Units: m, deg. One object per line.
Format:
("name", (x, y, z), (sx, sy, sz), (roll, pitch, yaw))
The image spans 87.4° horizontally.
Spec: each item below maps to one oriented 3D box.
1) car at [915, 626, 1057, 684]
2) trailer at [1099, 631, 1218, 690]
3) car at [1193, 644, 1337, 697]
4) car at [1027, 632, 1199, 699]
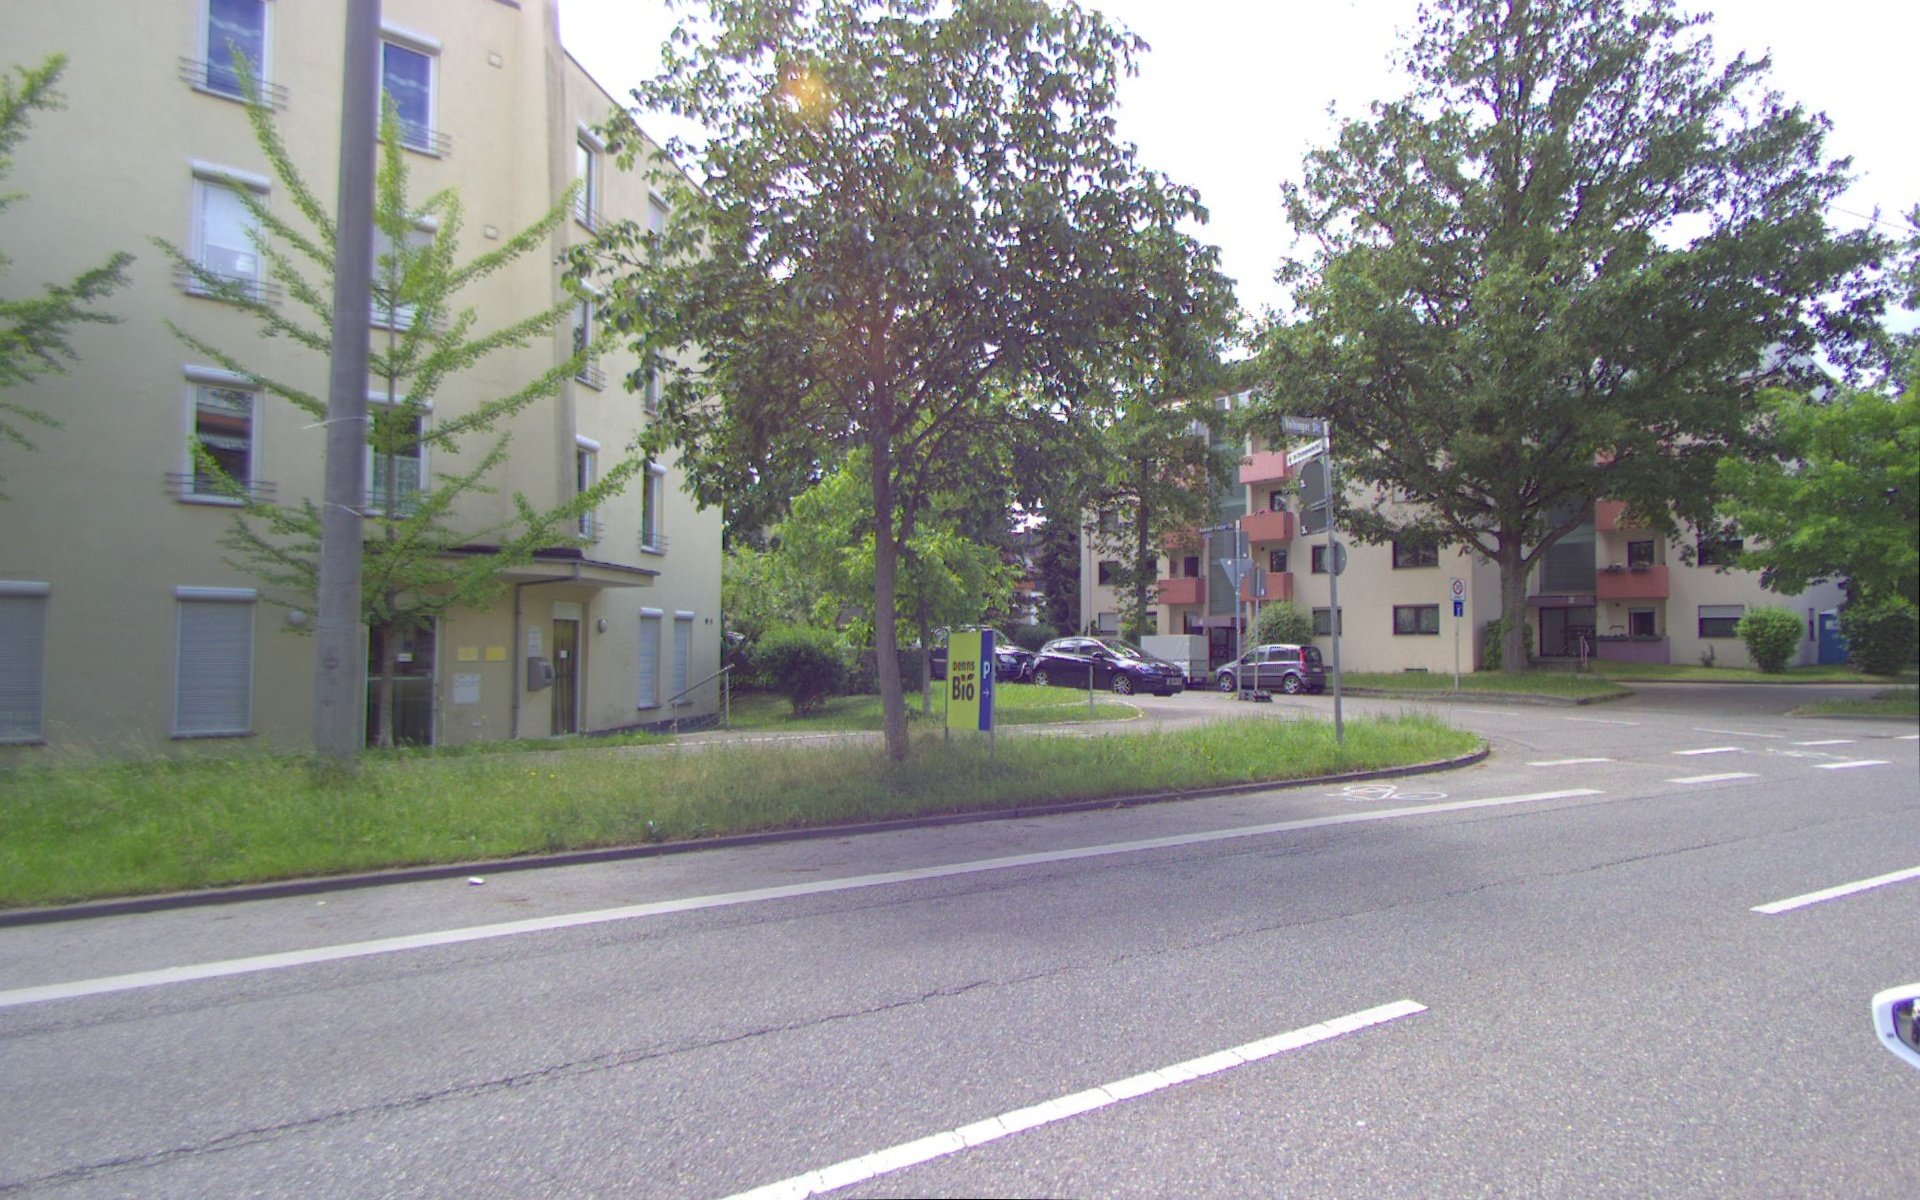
("car", (0.680, 1.571, 28.987), (1.885, 1.543, 4.142), (2, -3, -39))
("trailer", (6.897, 2.090, 35.146), (1.619, 1.821, 3.872), (7, -5, -41))
("car", (9.612, 2.216, 31.914), (1.780, 1.417, 4.045), (6, -5, -39))
("car", (3.728, 1.599, 24.947), (1.780, 1.417, 4.045), (6, -5, -39))
